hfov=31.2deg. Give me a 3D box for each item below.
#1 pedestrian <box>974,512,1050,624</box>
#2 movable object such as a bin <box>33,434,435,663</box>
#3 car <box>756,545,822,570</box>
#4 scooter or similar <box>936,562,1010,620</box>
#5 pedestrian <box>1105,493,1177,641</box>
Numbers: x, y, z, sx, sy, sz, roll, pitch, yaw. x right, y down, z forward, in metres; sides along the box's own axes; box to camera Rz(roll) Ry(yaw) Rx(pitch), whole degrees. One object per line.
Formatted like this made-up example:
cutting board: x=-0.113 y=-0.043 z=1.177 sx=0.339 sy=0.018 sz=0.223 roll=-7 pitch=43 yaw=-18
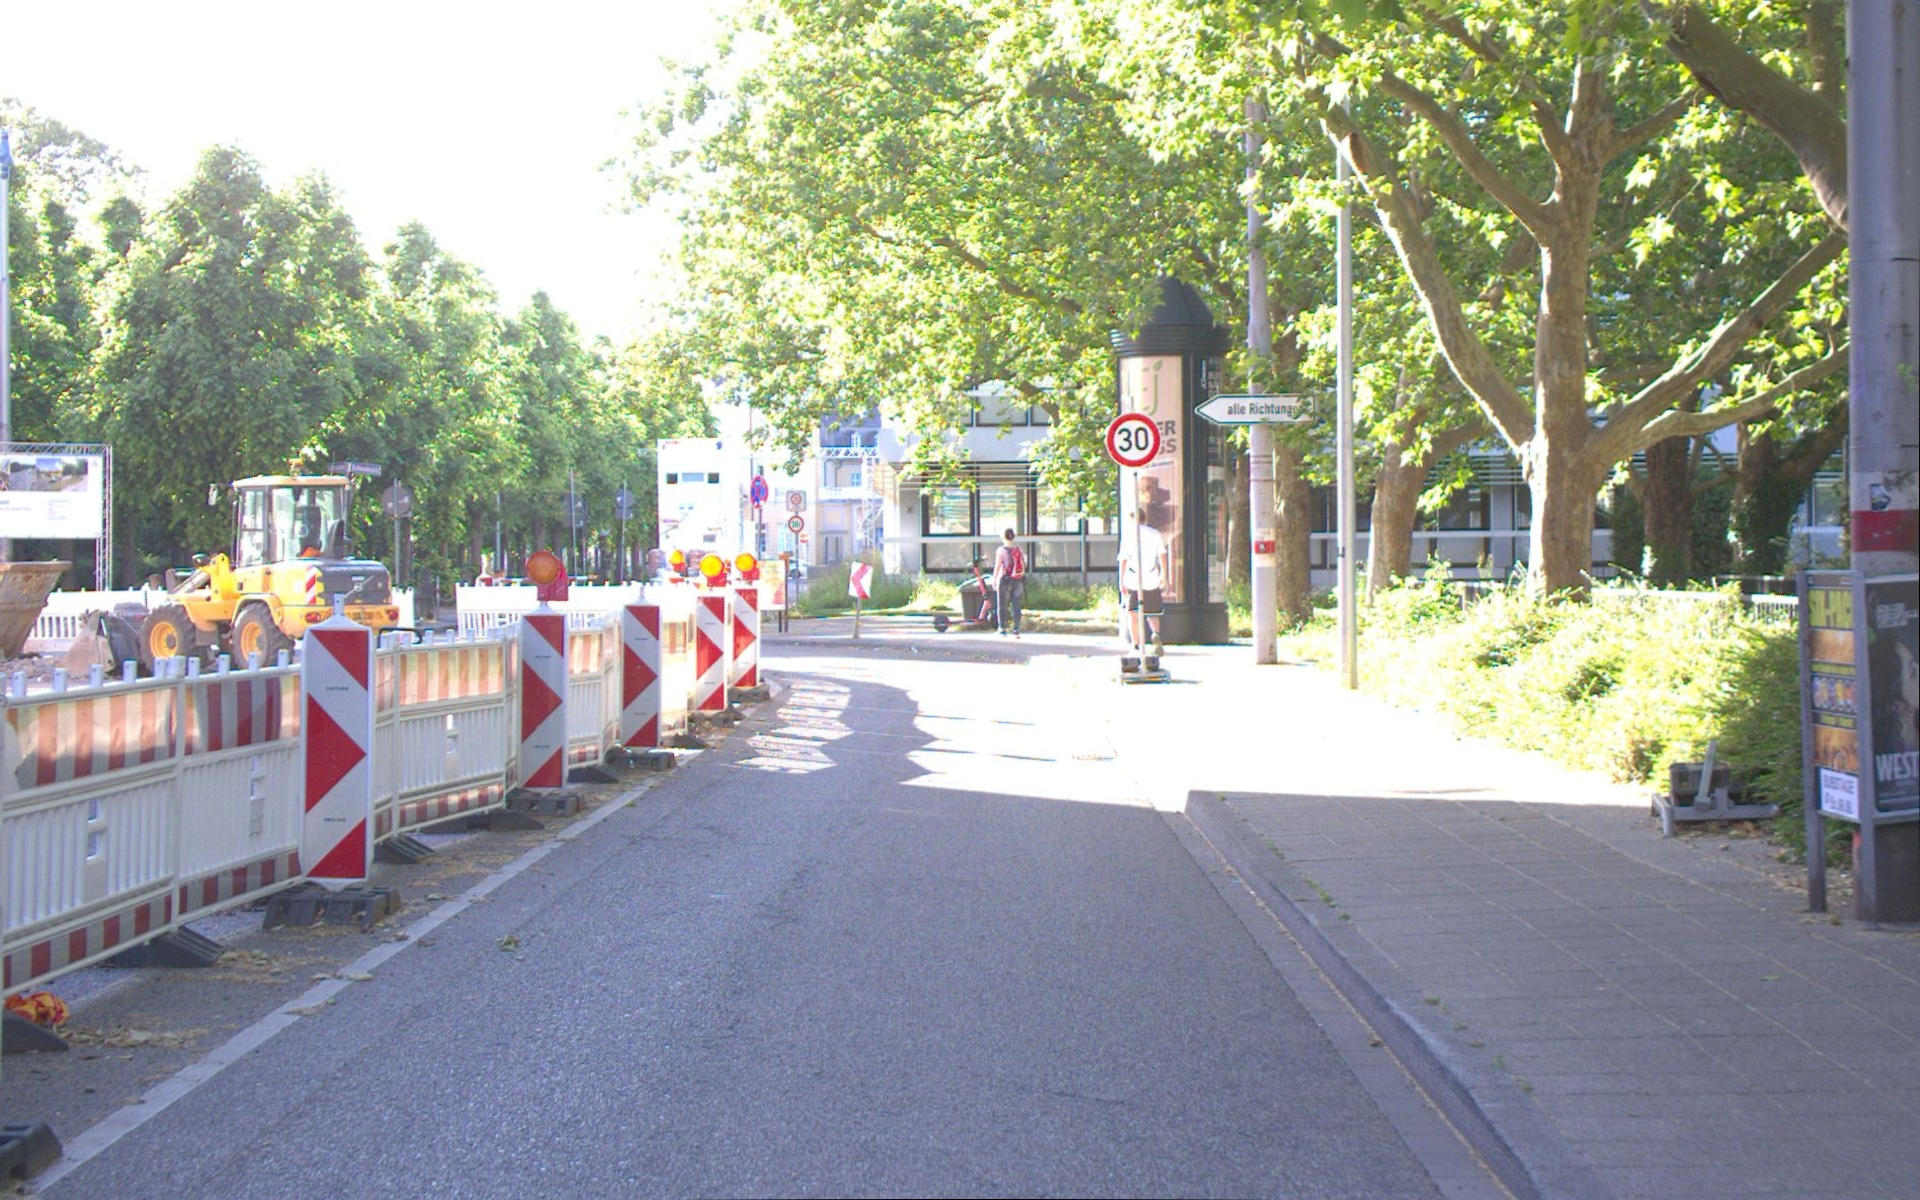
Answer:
pedestrian: x=0.759 y=-0.467 z=50.193 sx=0.708 sy=1.618 sz=0.939 roll=-1 pitch=0 yaw=-31
movable object such as a bin: x=-10.268 y=-0.699 z=48.313 sx=5.927 sy=3.021 sz=2.560 roll=-1 pitch=1 yaw=44
car: x=-12.099 y=-3.016 z=243.426 sx=4.557 sy=1.784 sz=2.000 roll=0 pitch=1 yaw=-1
scooter or similar: x=0.216 y=-0.144 z=56.614 sx=1.146 sy=0.911 sz=0.419 roll=-2 pitch=0 yaw=-7
pedestrian: x=2.256 y=-0.425 z=42.895 sx=0.745 sy=1.806 sz=1.134 roll=0 pitch=3 yaw=-4
